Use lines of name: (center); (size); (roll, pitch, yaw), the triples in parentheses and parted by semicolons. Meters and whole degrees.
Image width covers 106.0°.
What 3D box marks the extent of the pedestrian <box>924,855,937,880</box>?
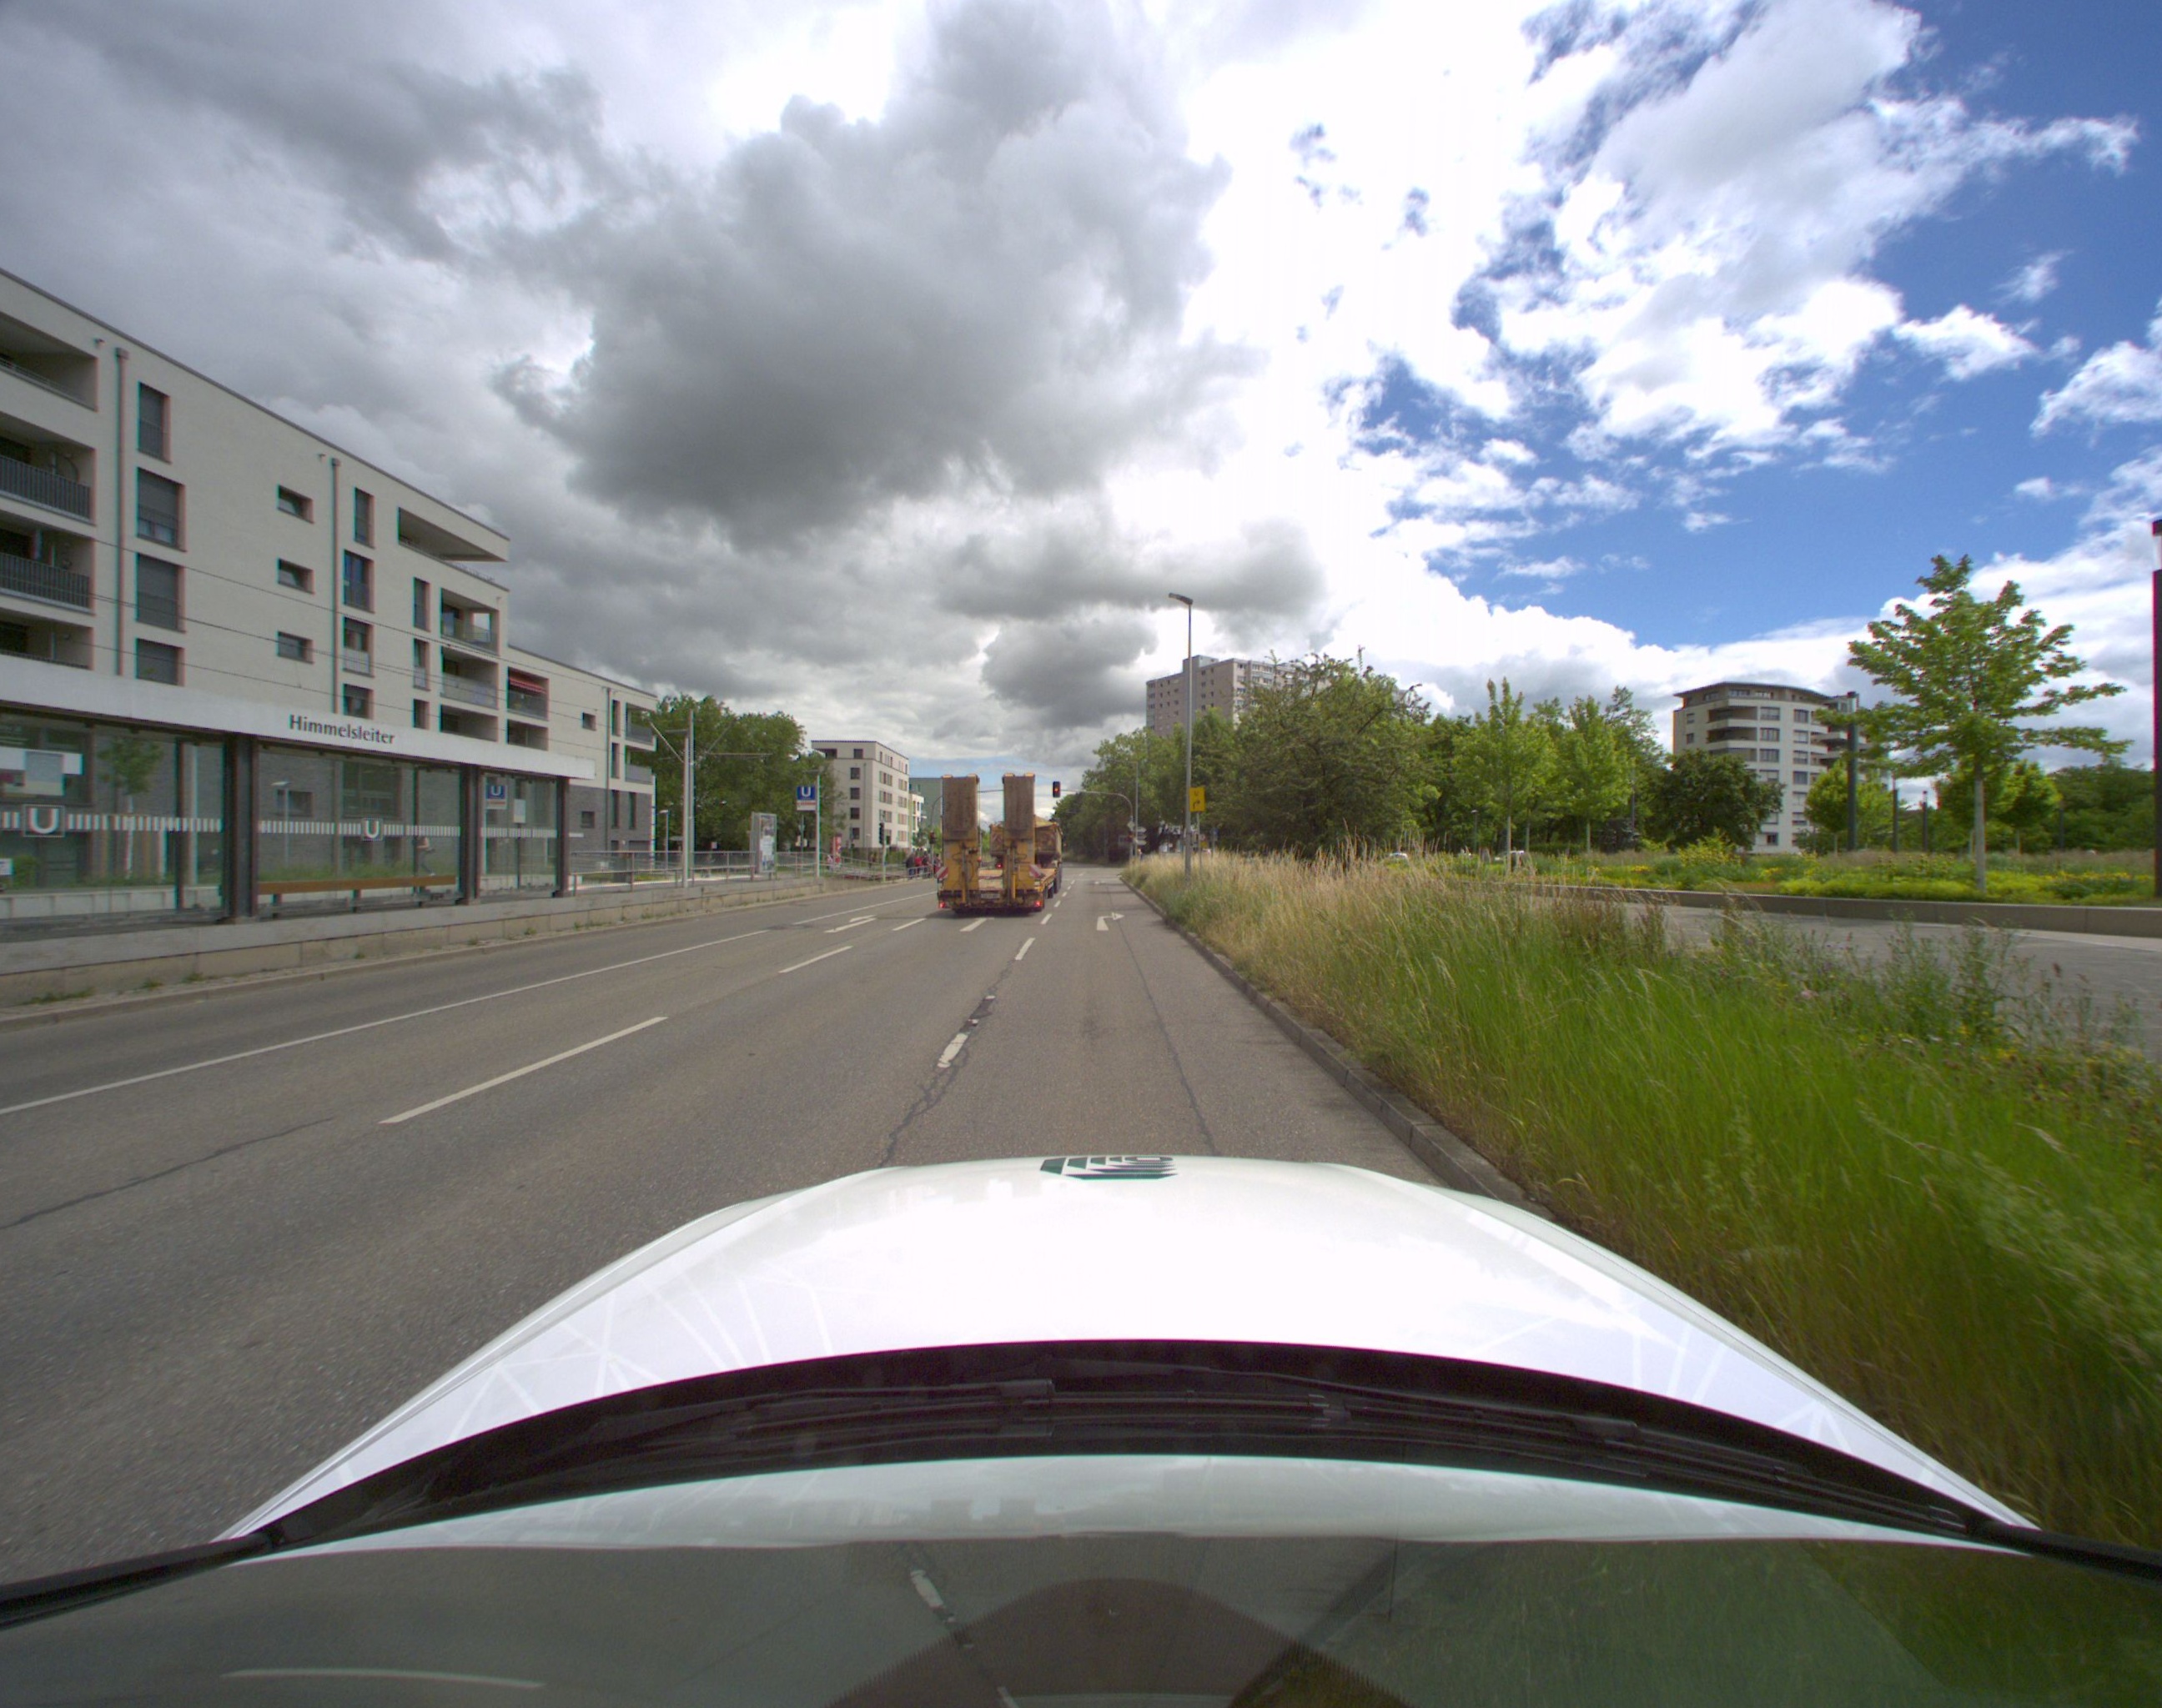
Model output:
pedestrian: (-9.759, 0.885, 52.711); (0.679, 1.602, 0.823); (0, 0, 0)

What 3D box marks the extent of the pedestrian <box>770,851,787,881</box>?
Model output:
pedestrian: (-22.785, 0.892, 61.316); (0.912, 2.204, 0.882); (0, 0, 0)

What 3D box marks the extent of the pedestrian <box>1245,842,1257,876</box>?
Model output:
pedestrian: (10.042, 0.311, 48.073); (0.561, 2.014, 0.490); (0, -1, -9)

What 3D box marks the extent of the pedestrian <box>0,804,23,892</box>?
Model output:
pedestrian: (-21.938, -0.125, 16.327); (0.559, 1.766, 0.678); (0, 0, 2)

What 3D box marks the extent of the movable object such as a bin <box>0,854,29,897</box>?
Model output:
movable object such as a bin: (-21.504, 0.419, 16.077); (0.559, 0.849, 0.678); (0, 0, 2)

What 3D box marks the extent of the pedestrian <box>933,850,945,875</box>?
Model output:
pedestrian: (-9.653, 0.588, 55.337); (0.679, 1.669, 0.823); (0, 0, 0)

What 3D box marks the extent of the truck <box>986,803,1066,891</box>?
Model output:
truck: (-2.132, -0.295, 34.831); (2.744, 3.313, 8.352); (0, 0, 1)

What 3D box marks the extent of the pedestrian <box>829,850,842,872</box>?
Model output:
pedestrian: (-23.485, 0.682, 77.805); (0.912, 2.133, 0.935); (0, 0, 0)

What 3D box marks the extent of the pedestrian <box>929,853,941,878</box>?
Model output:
pedestrian: (-9.728, 0.754, 54.282); (0.679, 1.602, 0.823); (0, 0, 0)

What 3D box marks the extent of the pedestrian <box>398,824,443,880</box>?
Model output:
pedestrian: (-21.136, -0.071, 26.073); (0.673, 1.766, 0.933); (0, 0, -1)

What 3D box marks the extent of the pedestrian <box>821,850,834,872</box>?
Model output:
pedestrian: (-24.415, 0.691, 78.545); (0.912, 2.133, 0.935); (0, 0, 0)

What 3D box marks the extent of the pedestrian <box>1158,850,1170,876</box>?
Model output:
pedestrian: (5.284, 0.559, 51.927); (0.621, 1.653, 0.566); (0, -1, 27)

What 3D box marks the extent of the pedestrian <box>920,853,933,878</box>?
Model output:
pedestrian: (-9.795, 0.722, 51.667); (0.679, 1.602, 0.823); (0, 0, 0)

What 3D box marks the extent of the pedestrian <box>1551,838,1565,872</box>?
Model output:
pedestrian: (27.809, 0.059, 47.446); (0.574, 1.951, 0.406); (0, 0, 1)

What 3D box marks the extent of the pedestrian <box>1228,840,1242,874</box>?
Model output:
pedestrian: (9.013, 0.186, 47.722); (0.671, 2.014, 0.633); (0, -1, -9)

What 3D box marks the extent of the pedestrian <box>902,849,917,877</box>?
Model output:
pedestrian: (-10.636, 0.552, 50.517); (0.817, 1.668, 0.684); (0, 0, 1)

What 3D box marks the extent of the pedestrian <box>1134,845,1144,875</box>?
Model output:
pedestrian: (3.818, 0.392, 53.750); (0.561, 2.014, 0.490); (0, -1, -9)

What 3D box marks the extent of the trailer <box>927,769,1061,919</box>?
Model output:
trailer: (-2.213, -0.274, 25.012); (2.720, 3.558, 11.255); (0, 0, 1)
